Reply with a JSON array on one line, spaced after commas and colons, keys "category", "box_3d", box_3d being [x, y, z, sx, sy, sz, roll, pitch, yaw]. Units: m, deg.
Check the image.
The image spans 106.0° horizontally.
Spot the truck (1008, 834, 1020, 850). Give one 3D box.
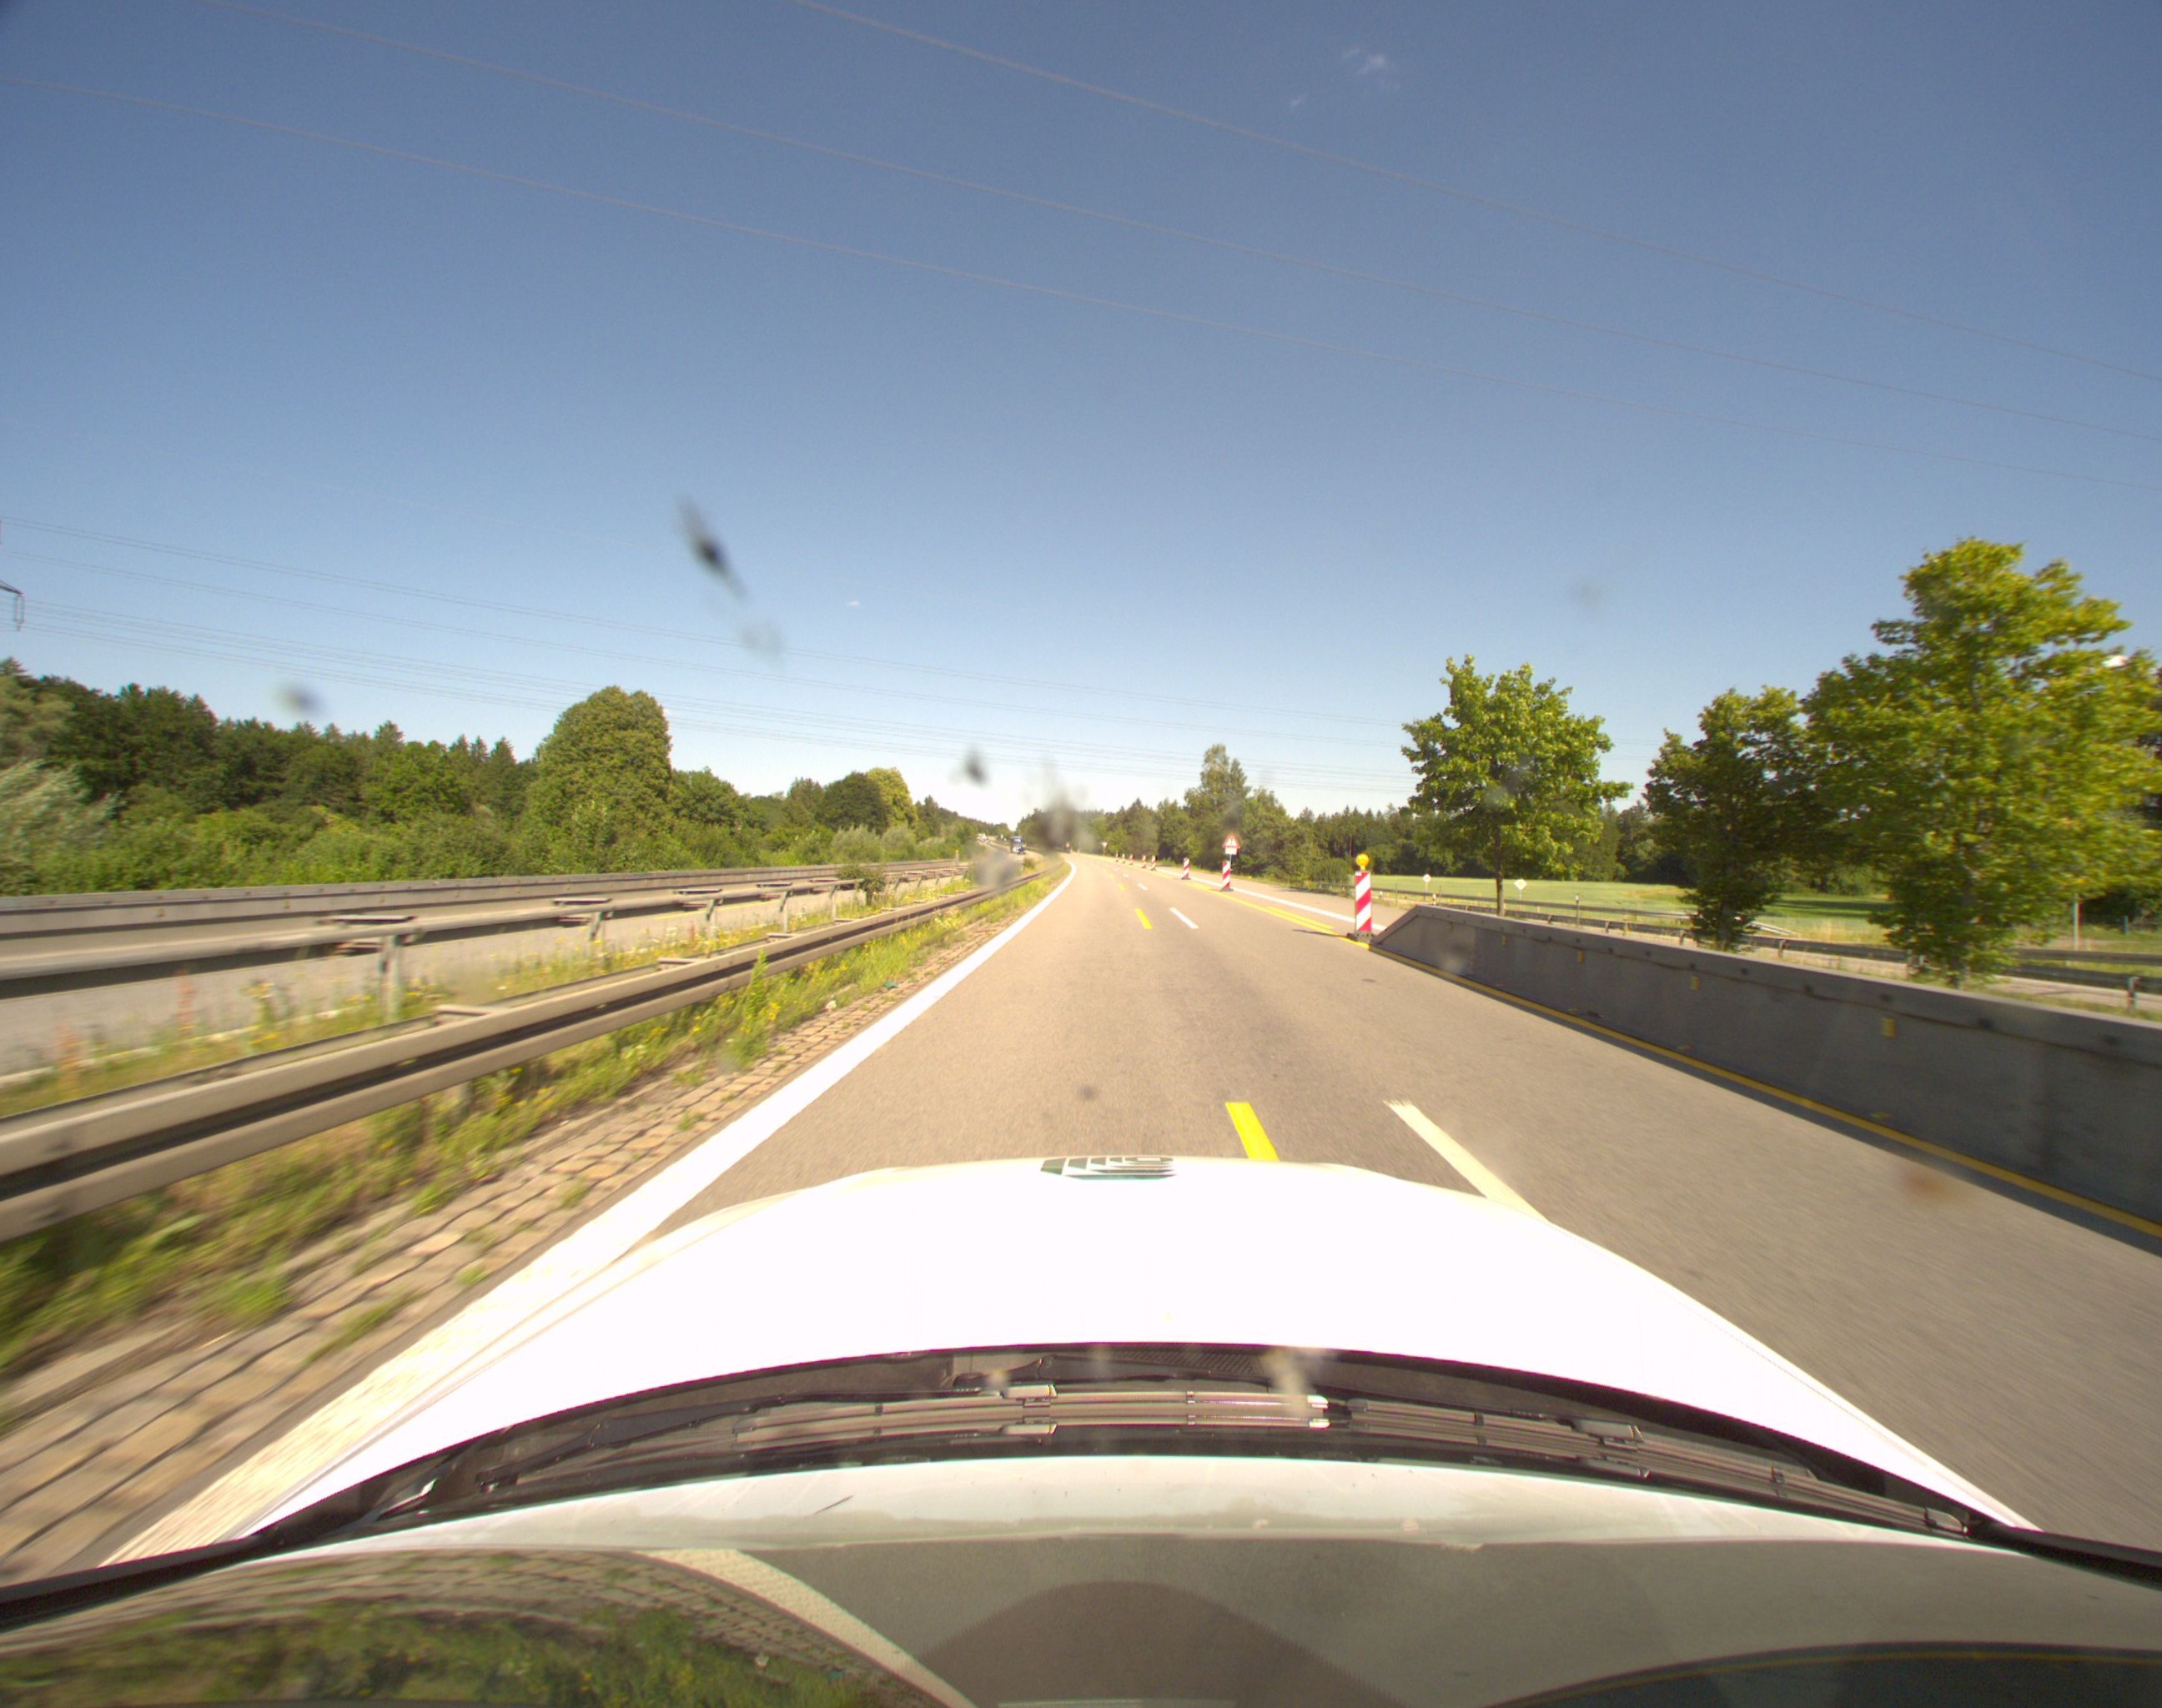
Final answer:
[{"category": "truck", "box_3d": [-16.745, -2.941, 203.917, 2.626, 3.959, 5.837, 0, 0, -3]}]

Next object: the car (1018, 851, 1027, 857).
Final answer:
[{"category": "car", "box_3d": [-12.862, -0.035, 180.363, 1.773, 1.429, 4.265, -1, 0, -2]}]
